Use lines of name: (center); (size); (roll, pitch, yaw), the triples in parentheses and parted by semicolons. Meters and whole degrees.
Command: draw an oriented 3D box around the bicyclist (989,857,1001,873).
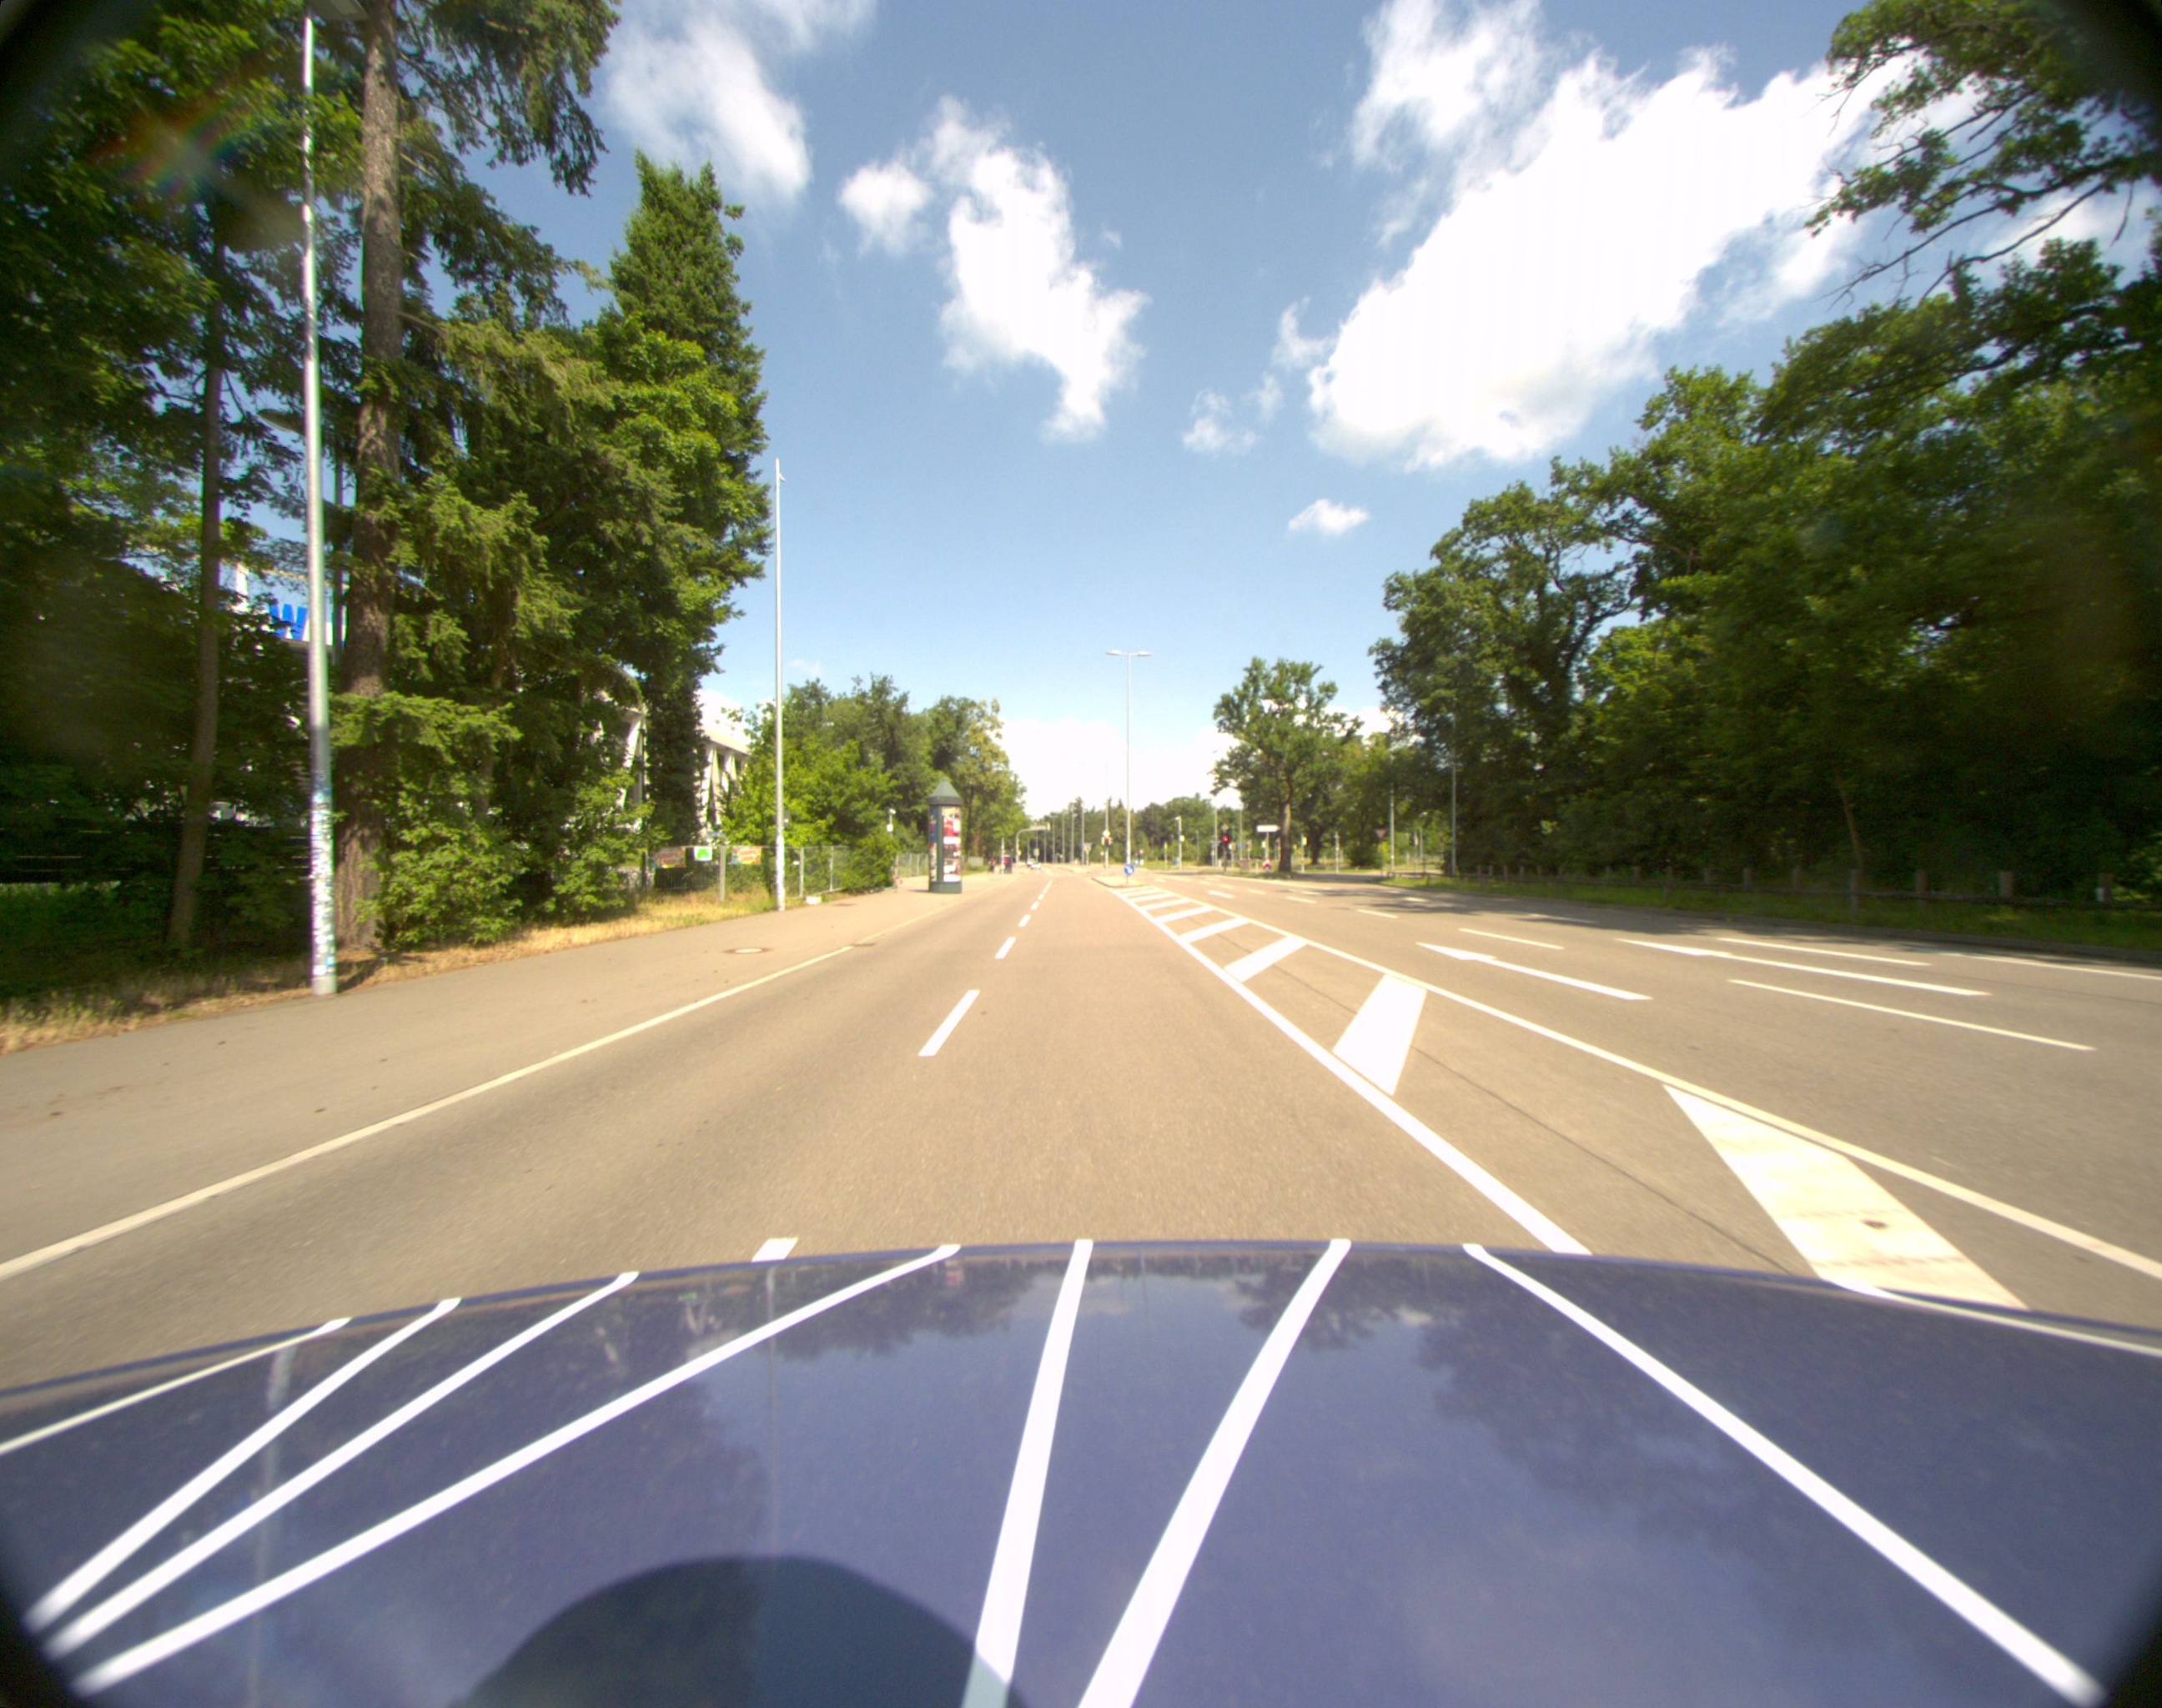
bicyclist: (-9.442, 1.227, 83.575); (0.885, 1.787, 0.980); (-1, 1, 33)

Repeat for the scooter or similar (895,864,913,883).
scooter or similar: (-11.289, 1.214, 48.412); (0.406, 1.193, 1.314); (0, -1, 25)

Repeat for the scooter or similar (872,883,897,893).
scooter or similar: (-9.151, 1.575, 35.355); (0.855, 0.386, 1.473); (0, 1, -3)

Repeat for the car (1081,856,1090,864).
car: (1.066, 1.455, 184.917); (1.980, 1.754, 4.707); (-2, -1, -2)

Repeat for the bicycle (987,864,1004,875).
bicycle: (-9.430, 1.712, 83.572); (0.881, 1.199, 1.901); (-1, 0, 31)

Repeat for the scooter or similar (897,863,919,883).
scooter or similar: (-11.055, 1.231, 48.620); (1.312, 1.244, 0.407); (0, 0, -8)

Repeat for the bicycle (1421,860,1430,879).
bicycle: (21.804, 0.946, 48.071); (0.420, 1.166, 1.231); (-1, 0, 20)
